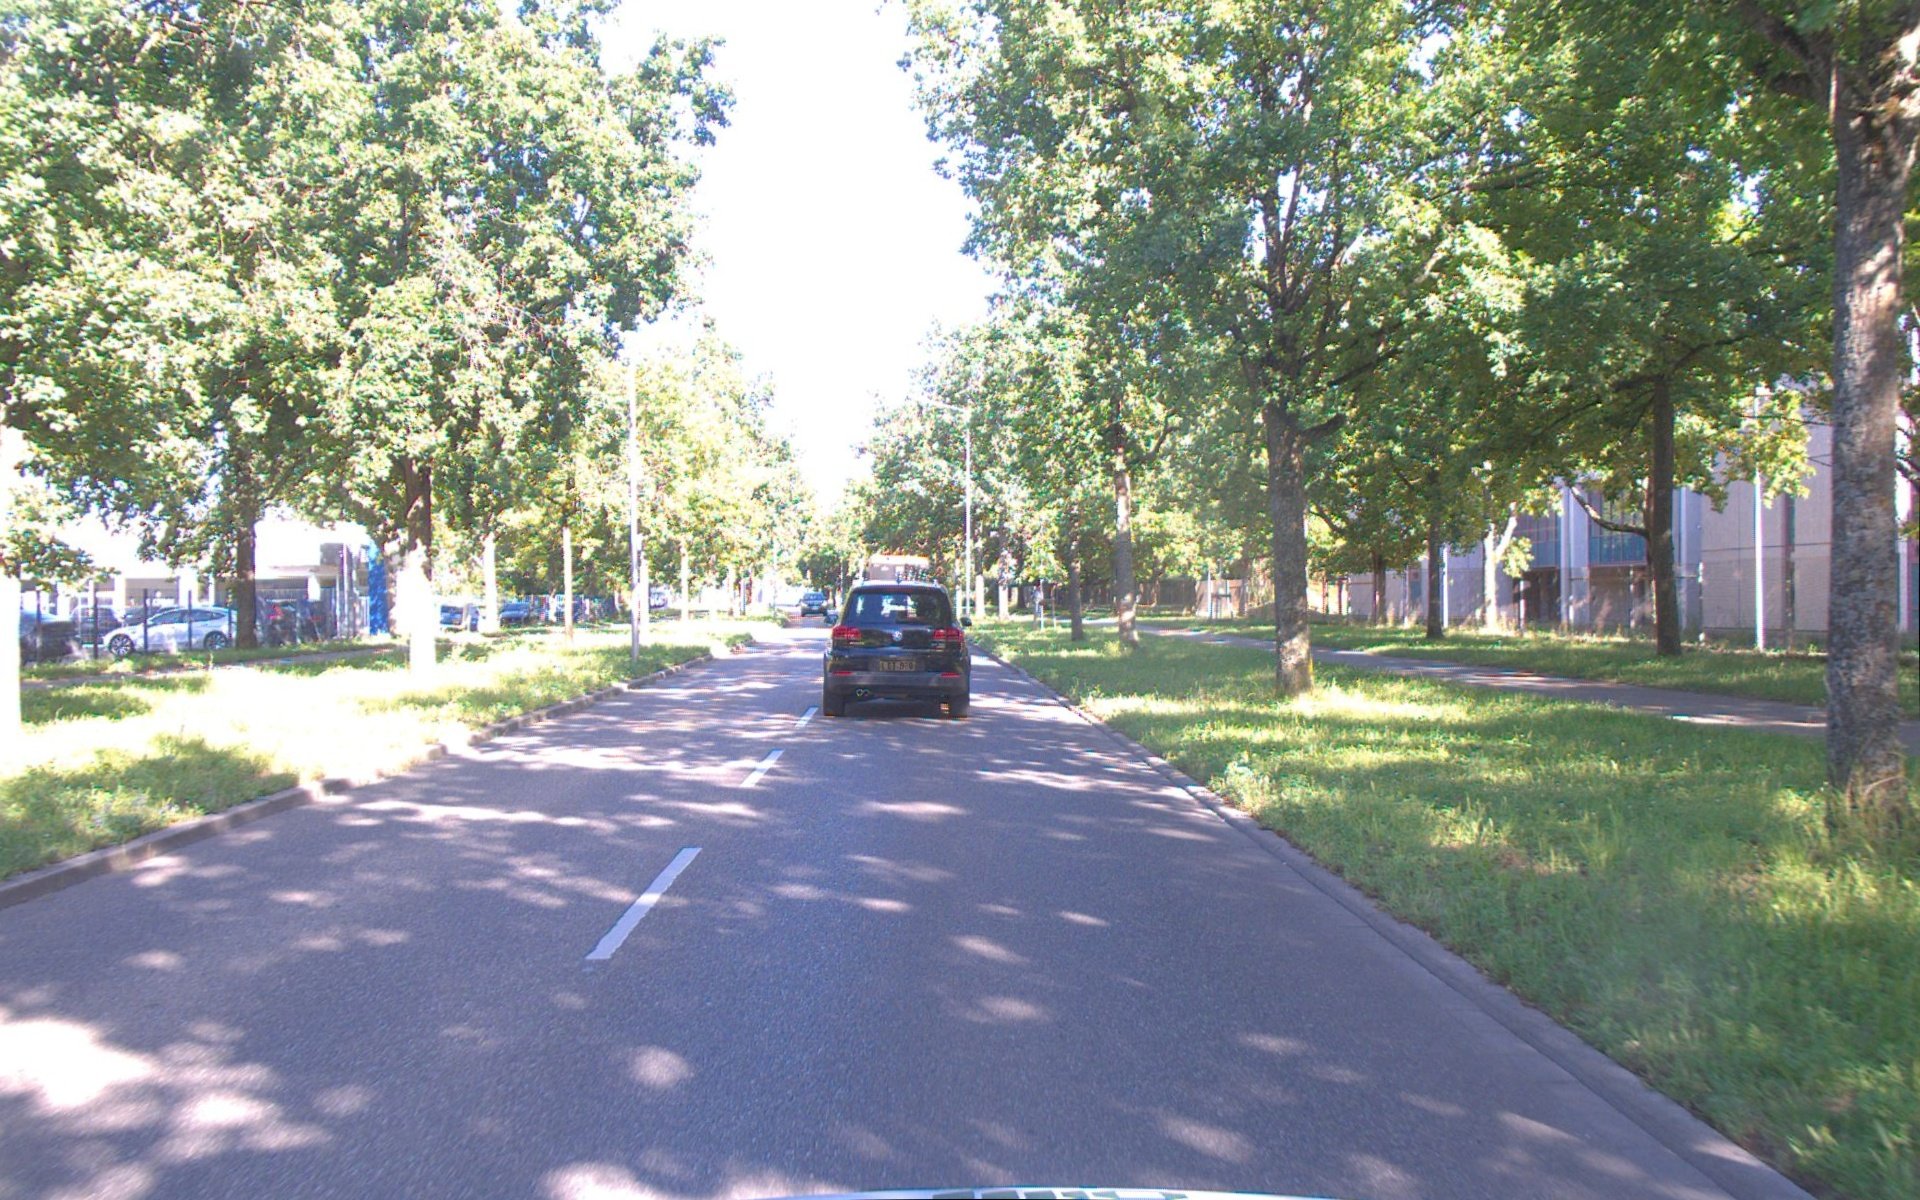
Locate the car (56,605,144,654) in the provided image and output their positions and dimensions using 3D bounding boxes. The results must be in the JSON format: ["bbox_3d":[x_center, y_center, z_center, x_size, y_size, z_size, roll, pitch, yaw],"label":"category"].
[{"bbox_3d":[-32.504,1.076,62.651,1.961,1.719,5.236,1,0,-16],"label":"car"}]

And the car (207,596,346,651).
[{"bbox_3d":[-23.356,0.808,56.617,3.906,1.772,1.999,1,0,-1],"label":"car"}]

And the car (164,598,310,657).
[{"bbox_3d":[-23.432,0.885,53.707,3.907,1.776,1.861,1,0,-2],"label":"car"}]

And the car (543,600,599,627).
[{"bbox_3d":[-28.439,0.990,121.142,3.917,1.833,1.994,1,0,-13],"label":"car"}]

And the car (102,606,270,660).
[{"bbox_3d":[-23.625,1.001,50.607,4.224,1.545,1.861,1,0,-2],"label":"car"}]

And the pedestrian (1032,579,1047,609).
[{"bbox_3d":[4.485,-0.341,93.560,0.598,1.659,0.716,-3,1,-15],"label":"pedestrian"}]

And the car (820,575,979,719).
[{"bbox_3d":[-0.882,0.565,21.530,1.748,1.662,3.994,1,0,-6],"label":"car"}]

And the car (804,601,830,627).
[{"bbox_3d":[-9.970,0.990,115.703,1.733,1.701,4.195,-2,0,-4],"label":"car"}]

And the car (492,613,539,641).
[{"bbox_3d":[-27.331,1.625,101.894,1.955,1.625,5.008,1,0,-6],"label":"car"}]

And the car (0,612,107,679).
[{"bbox_3d":[-23.254,1.069,40.152,3.906,1.545,2.197,1,0,-2],"label":"car"}]

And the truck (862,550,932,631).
[{"bbox_3d":[-2.834,-0.391,72.239,2.464,3.300,8.140,0,0,-7],"label":"truck"}]

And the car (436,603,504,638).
[{"bbox_3d":[-21.586,0.880,72.865,2.512,1.495,1.427,-1,0,12],"label":"car"}]
